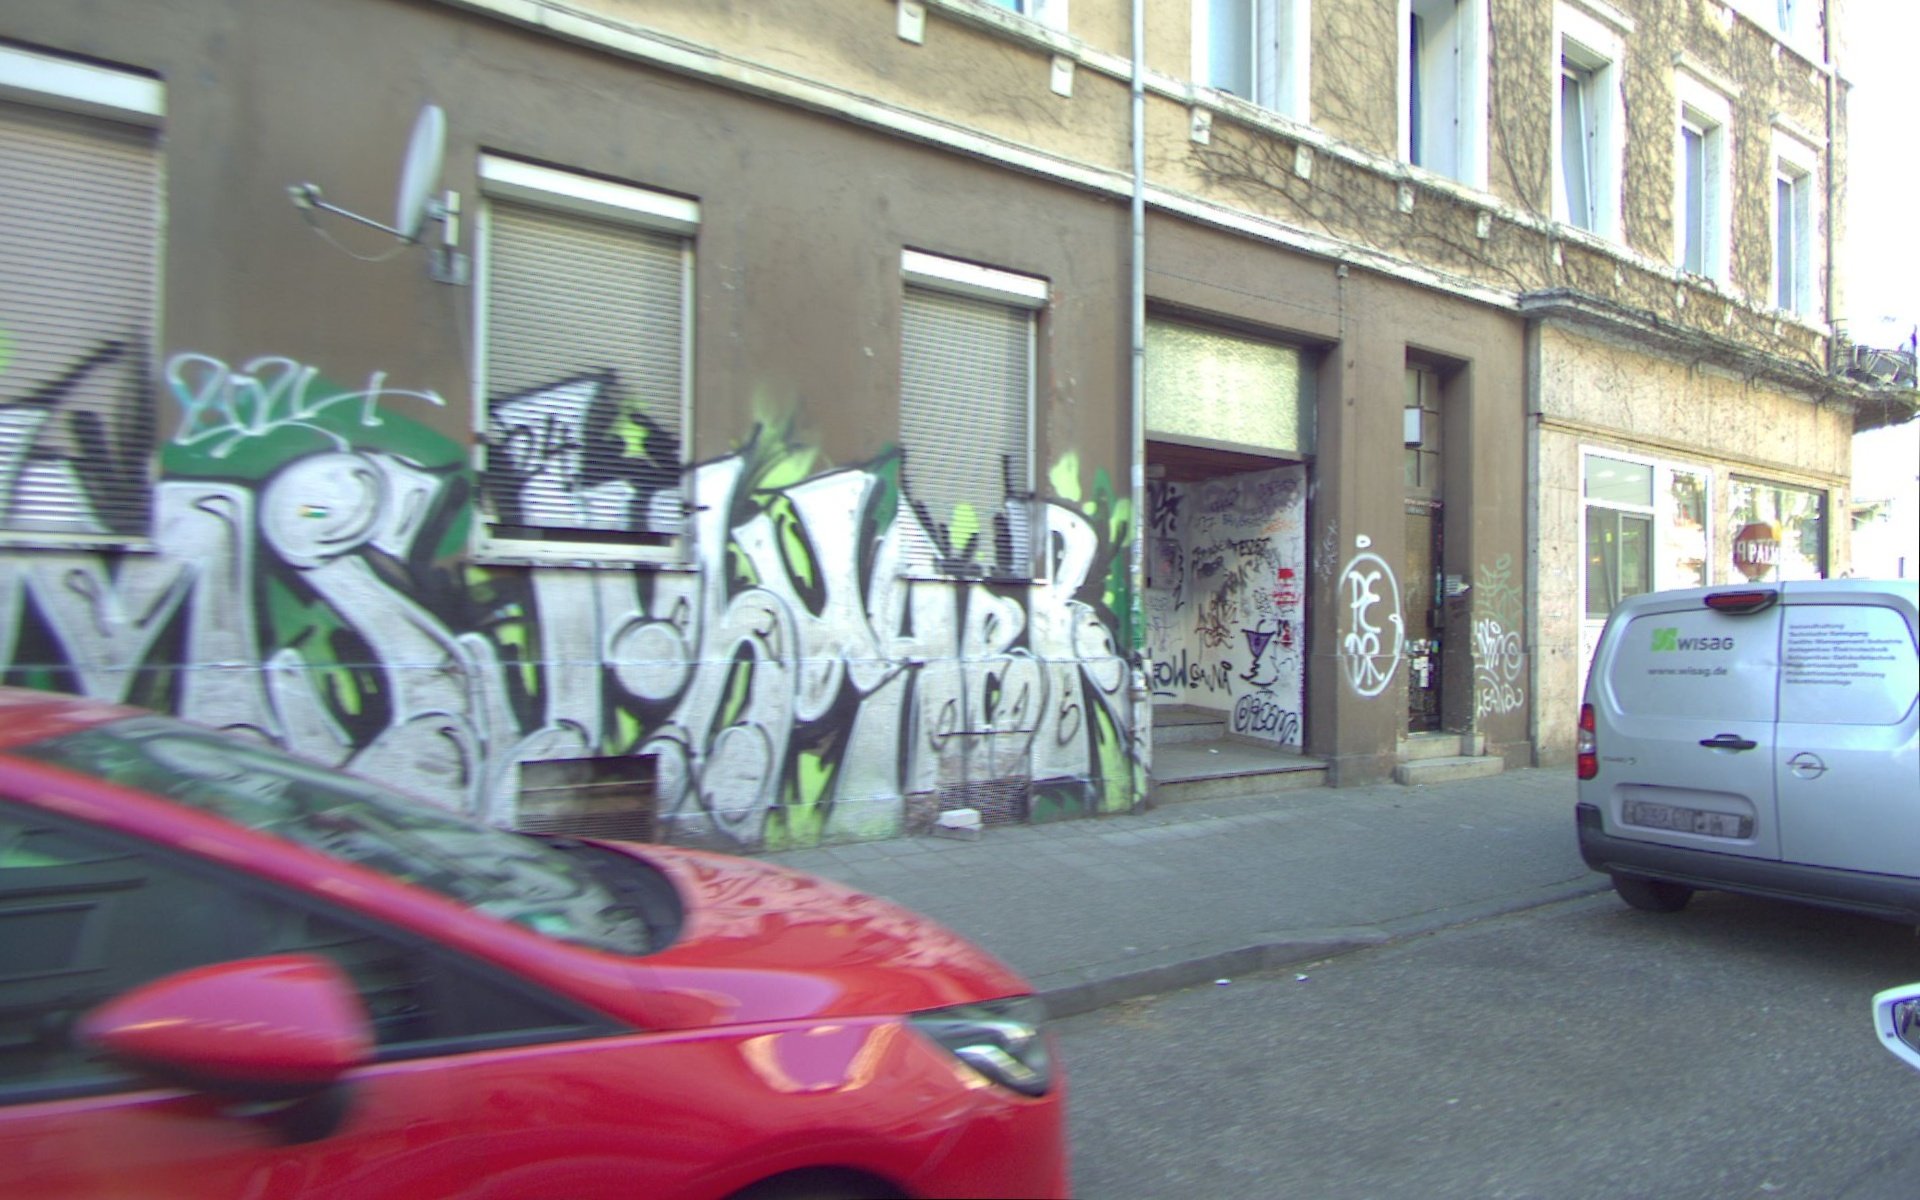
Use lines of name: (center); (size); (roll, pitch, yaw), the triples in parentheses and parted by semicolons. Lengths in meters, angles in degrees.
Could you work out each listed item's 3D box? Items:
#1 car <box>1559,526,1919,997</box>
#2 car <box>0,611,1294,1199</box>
car: (5.594, 0.749, 5.797); (4.466, 1.934, 1.672); (1, -4, -31)
car: (-1.506, 0.801, 1.695); (4.156, 1.492, 1.671); (1, -4, -32)
